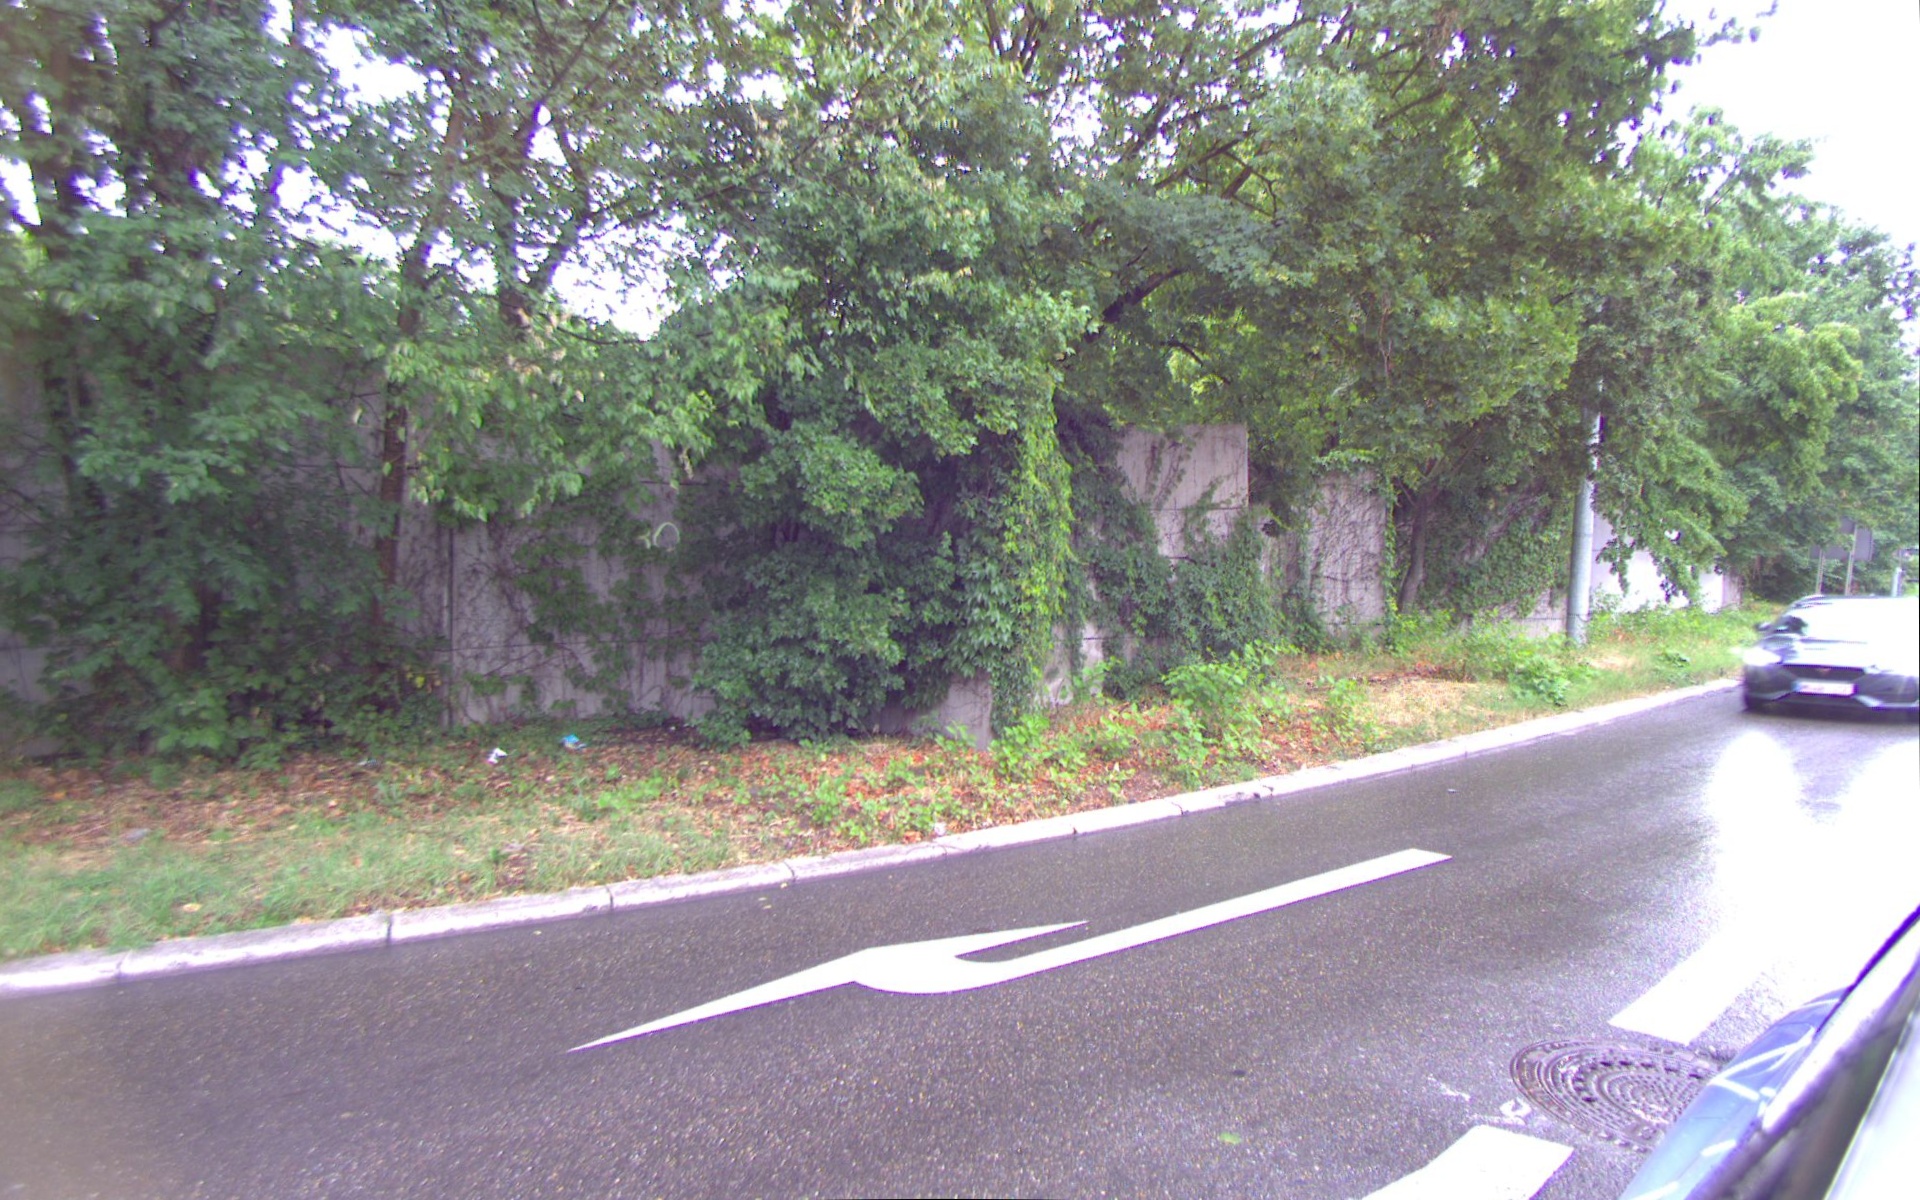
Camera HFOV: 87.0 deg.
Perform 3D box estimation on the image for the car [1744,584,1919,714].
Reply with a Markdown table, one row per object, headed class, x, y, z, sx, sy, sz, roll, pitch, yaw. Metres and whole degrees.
| class | x | y | z | sx | sy | sz | roll | pitch | yaw |
| --- | --- | --- | --- | --- | --- | --- | --- | --- | --- |
| car | 11.652 | 0.559 | 12.934 | 4.336 | 1.421 | 1.751 | 1 | -1 | -41 |
